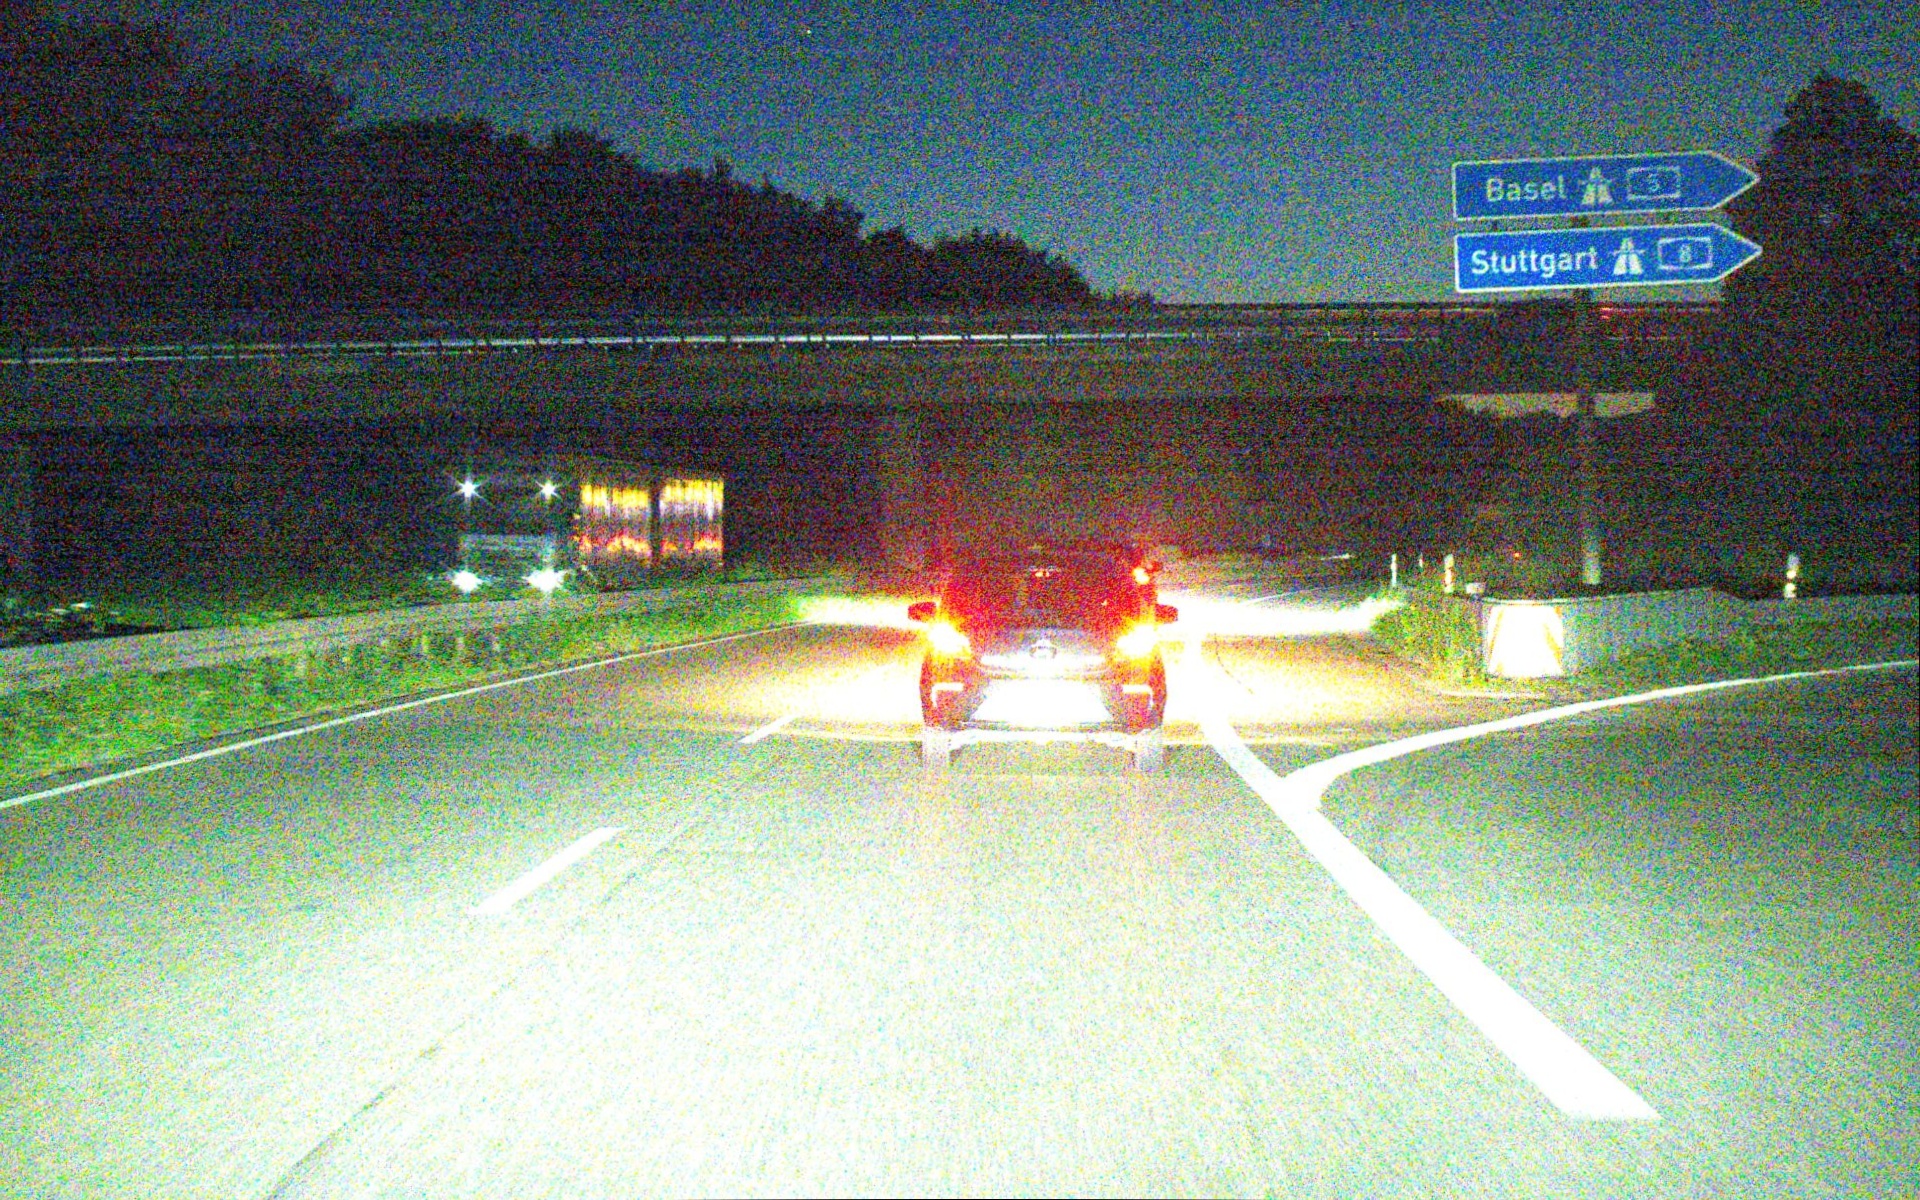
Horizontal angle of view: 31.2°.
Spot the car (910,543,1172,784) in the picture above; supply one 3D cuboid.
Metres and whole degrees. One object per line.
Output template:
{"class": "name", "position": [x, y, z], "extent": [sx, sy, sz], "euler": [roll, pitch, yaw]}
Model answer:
{"class": "car", "position": [0.489, 0.374, 24.001], "extent": [1.588, 1.503, 4.001], "euler": [1, 1, -2]}

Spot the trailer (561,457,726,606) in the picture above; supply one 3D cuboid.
{"class": "trailer", "position": [-8.764, -1.922, 96.207], "extent": [2.718, 3.943, 9.045], "euler": [-1, 1, 7]}

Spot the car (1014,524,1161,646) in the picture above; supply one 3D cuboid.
{"class": "car", "position": [1.898, -0.256, 50.095], "extent": [1.907, 1.692, 3.999], "euler": [0, 1, 5]}

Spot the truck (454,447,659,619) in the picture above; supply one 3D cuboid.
{"class": "truck", "position": [-10.018, -1.692, 86.637], "extent": [2.681, 4.030, 10.651], "euler": [-1, 1, 7]}
